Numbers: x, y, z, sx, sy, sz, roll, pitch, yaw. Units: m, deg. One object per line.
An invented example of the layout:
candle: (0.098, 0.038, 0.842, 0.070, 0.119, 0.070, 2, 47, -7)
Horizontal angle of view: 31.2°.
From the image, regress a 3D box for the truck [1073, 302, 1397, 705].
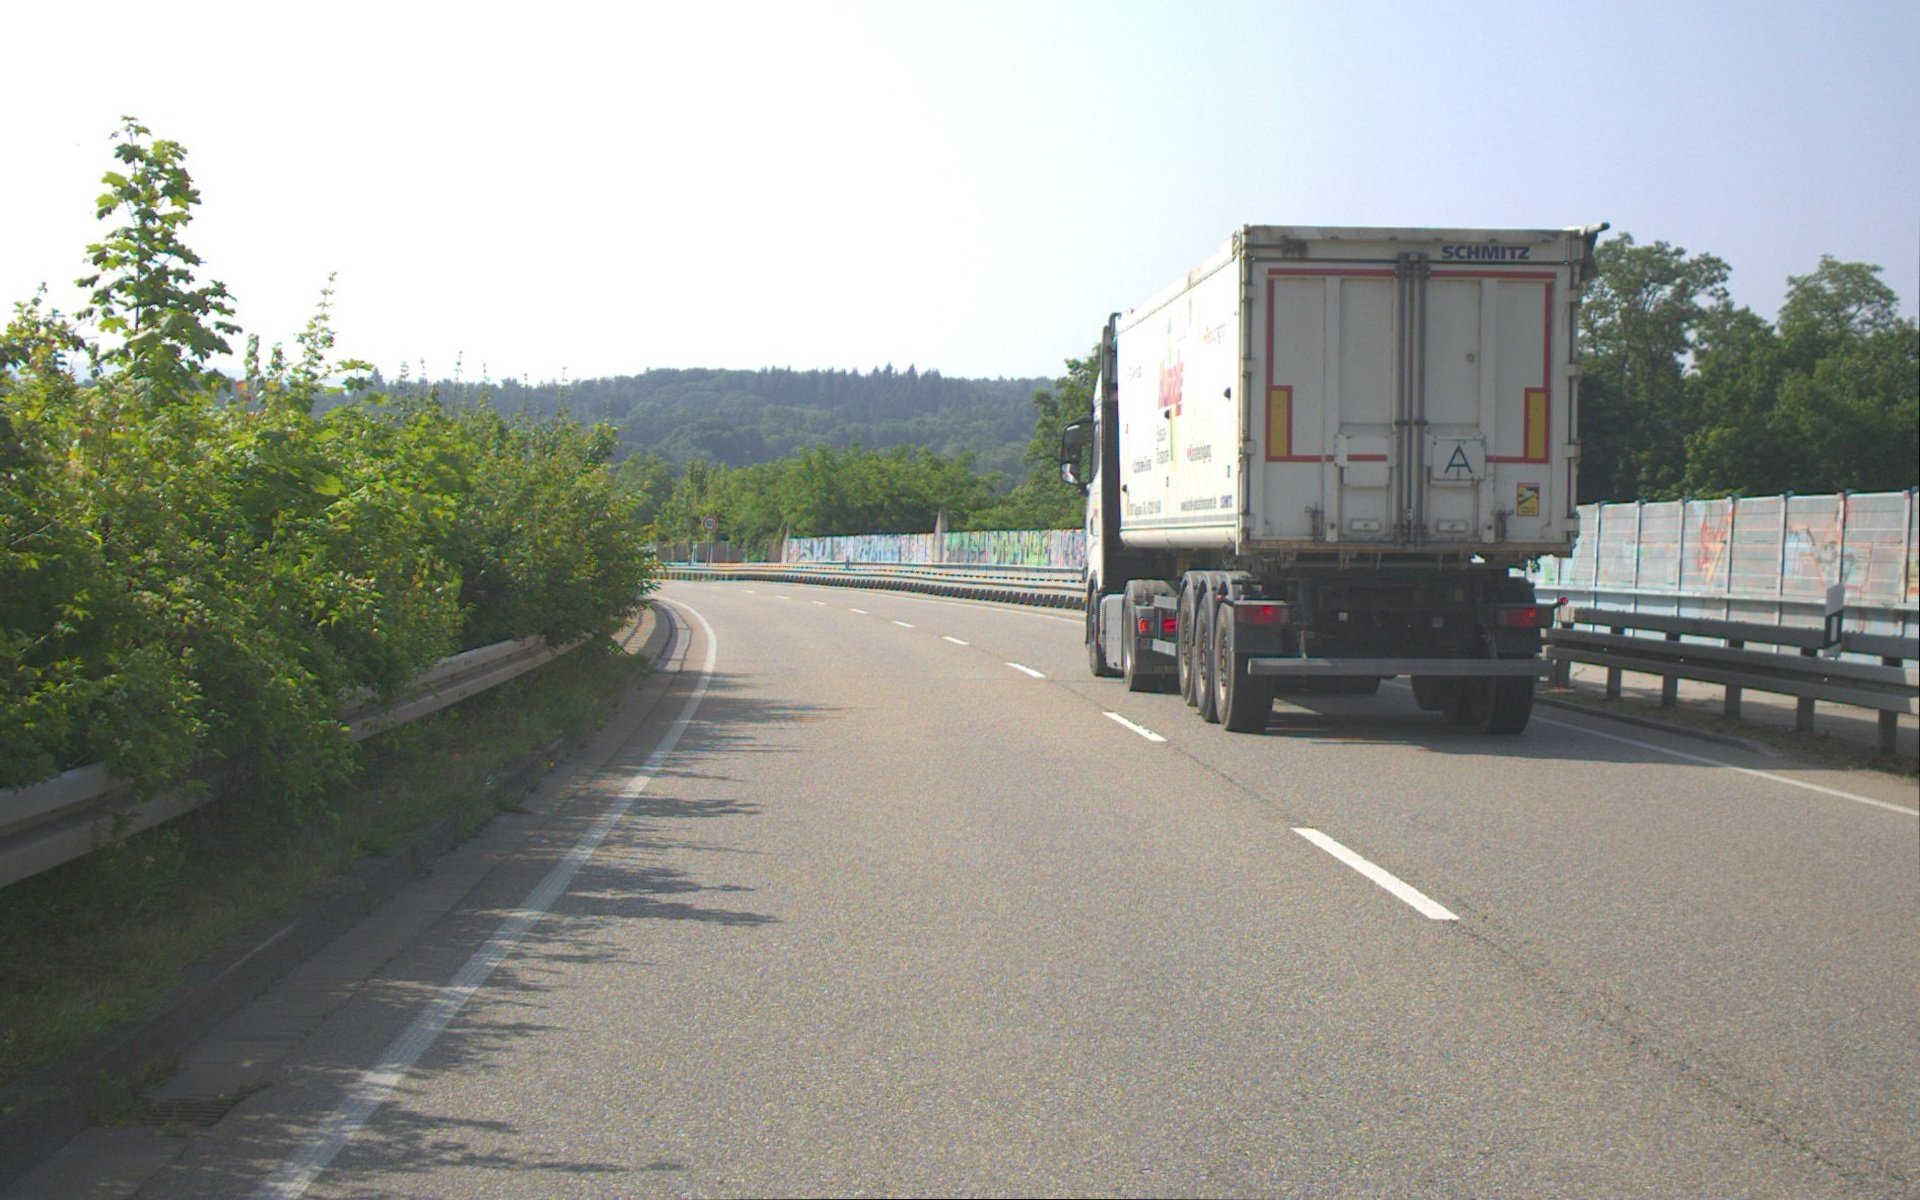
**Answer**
truck: (2.777, -1.017, 36.341, 2.658, 3.882, 5.649, 1, 2, -3)

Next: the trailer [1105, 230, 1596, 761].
trailer: (3.096, -0.879, 30.280, 2.679, 3.893, 9.674, 1, 1, -3)
